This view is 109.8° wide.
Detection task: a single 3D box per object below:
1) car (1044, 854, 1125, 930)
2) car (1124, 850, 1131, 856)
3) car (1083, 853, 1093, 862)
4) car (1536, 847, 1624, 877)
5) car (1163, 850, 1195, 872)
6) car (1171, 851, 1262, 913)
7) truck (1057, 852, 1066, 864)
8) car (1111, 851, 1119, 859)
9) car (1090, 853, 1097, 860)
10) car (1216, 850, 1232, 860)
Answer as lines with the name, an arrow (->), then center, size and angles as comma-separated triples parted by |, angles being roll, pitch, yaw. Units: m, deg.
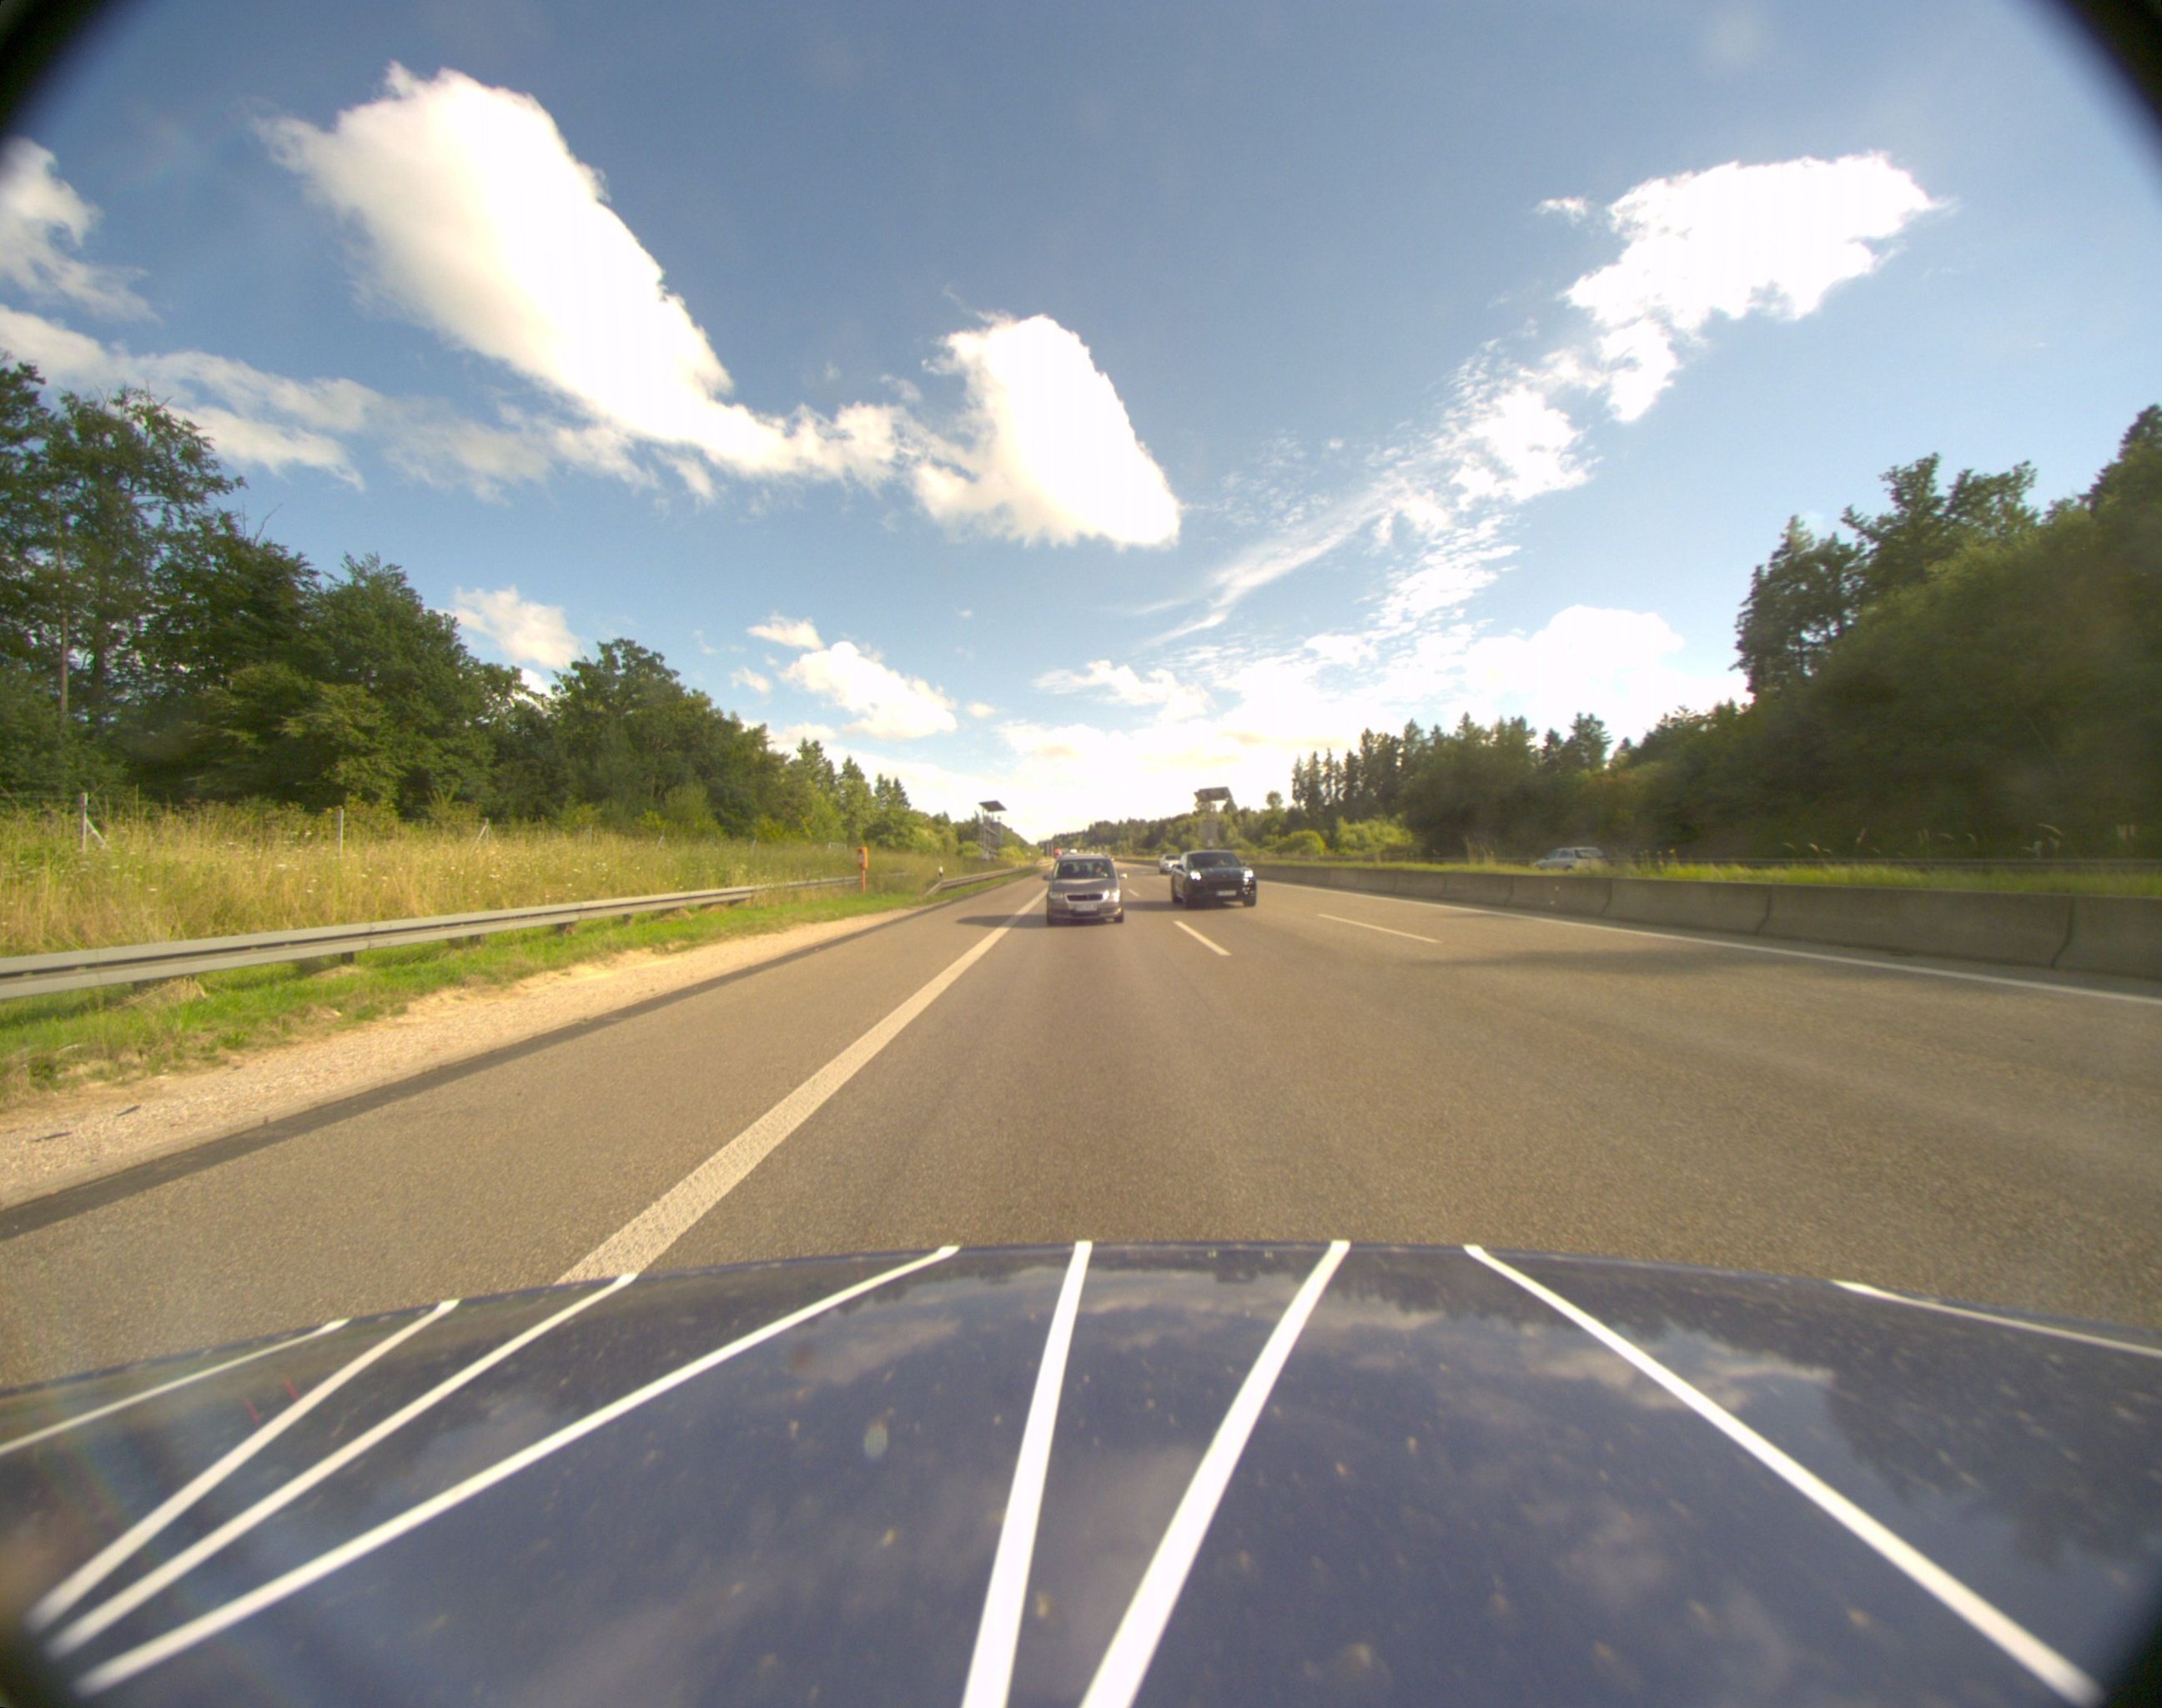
car -> 0.103, 0.843, 18.731 | 1.742, 1.608, 4.083 | -2, 0, 1
car -> 15.201, -0.220, 249.344 | 1.999, 2.002, 4.071 | -2, 0, 0
car -> 1.410, 0.756, 153.722 | 1.938, 1.772, 4.236 | -2, 0, 1
car -> 23.362, 0.358, 35.723 | 1.821, 1.282, 3.544 | -2, 0, 1
car -> 7.742, 0.550, 60.436 | 1.961, 1.608, 4.387 | -2, 0, 1
car -> 3.908, 0.755, 22.715 | 1.961, 1.608, 4.387 | -2, 0, 1
truck -> -6.707, 1.431, 265.394 | 2.880, 3.871, 8.958 | -2, 0, 0
car -> 8.593, 0.231, 193.341 | 1.998, 1.772, 4.000 | -2, 0, 1
car -> 3.459, 0.700, 218.057 | 1.943, 1.772, 4.158 | -2, 0, 1
car -> 25.153, 0.195, 133.425 | 1.884, 1.618, 4.570 | -2, 0, 0
